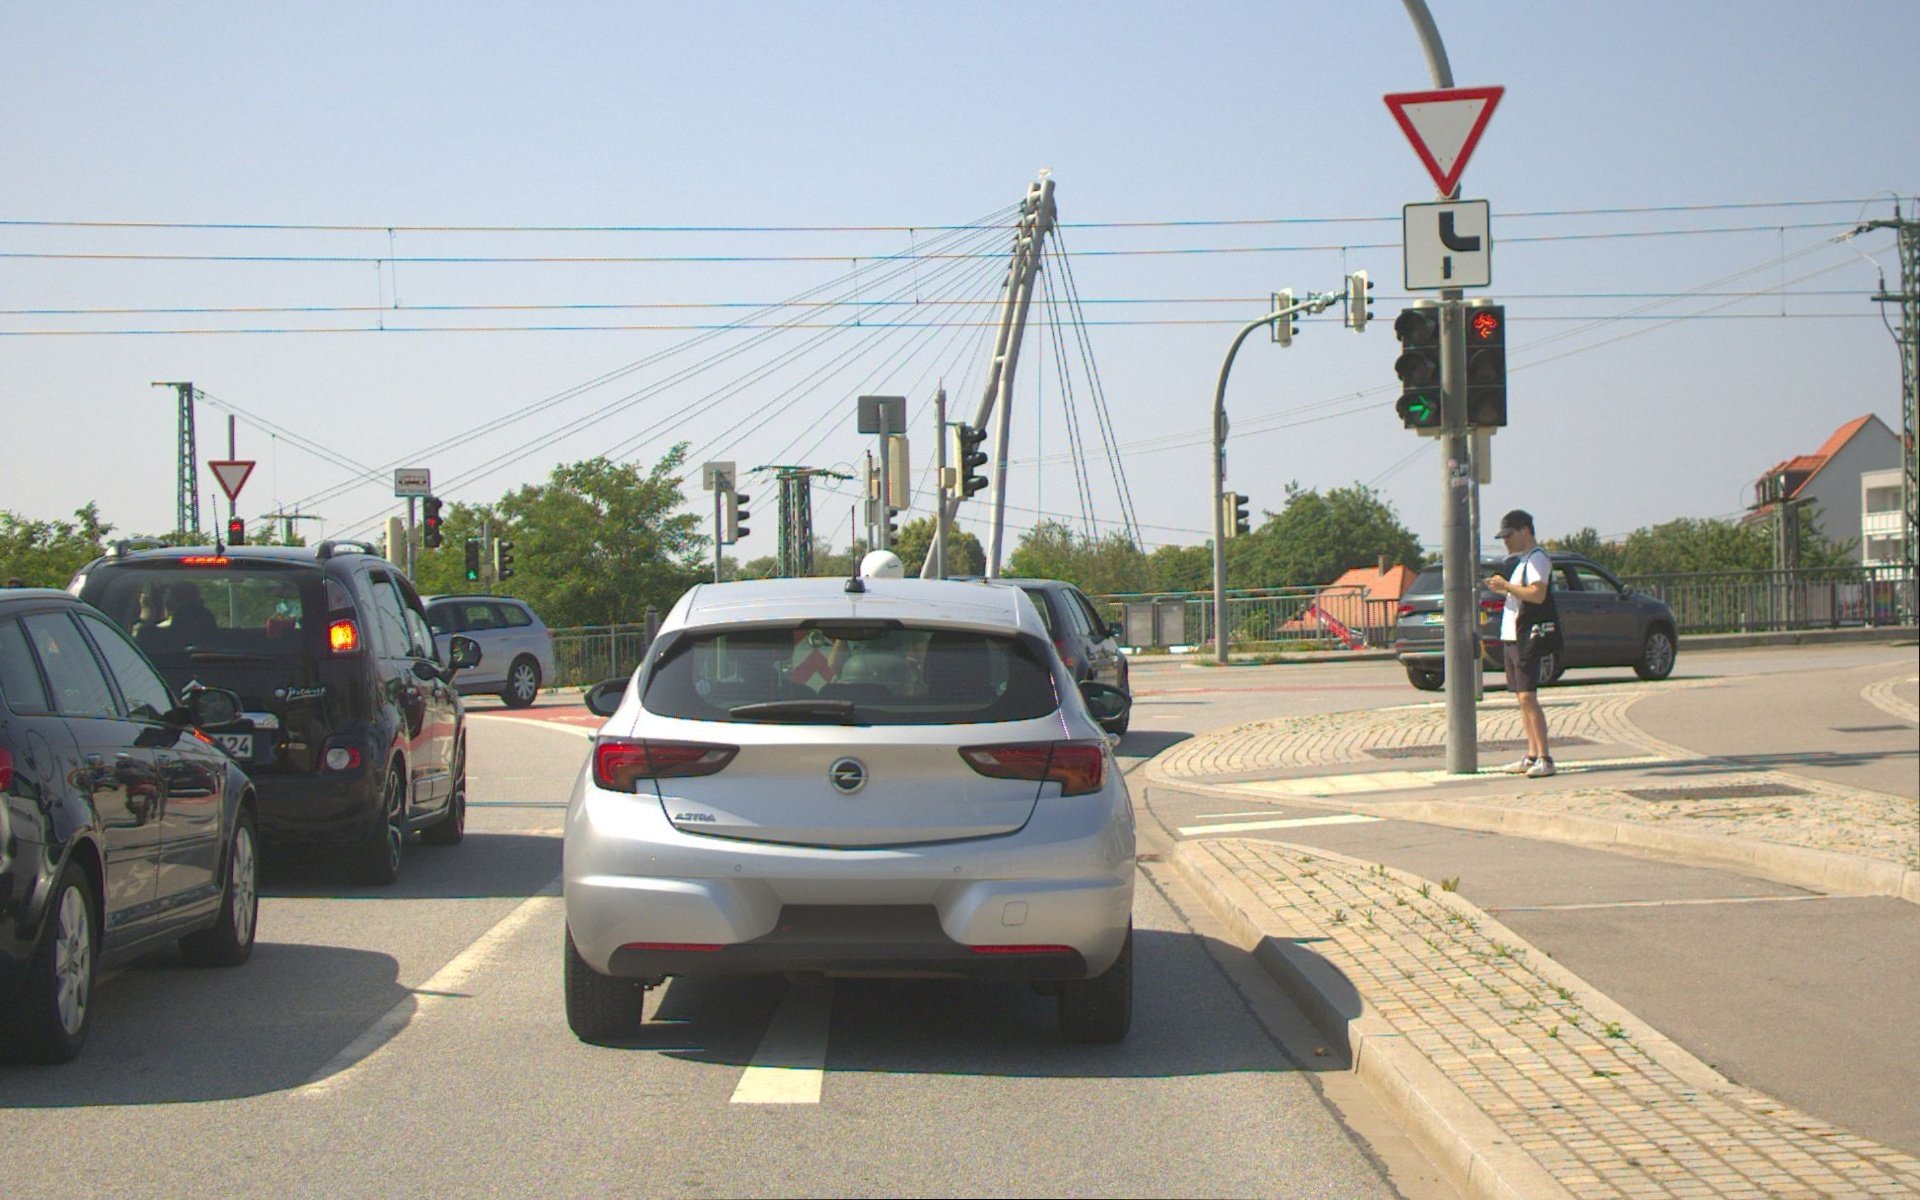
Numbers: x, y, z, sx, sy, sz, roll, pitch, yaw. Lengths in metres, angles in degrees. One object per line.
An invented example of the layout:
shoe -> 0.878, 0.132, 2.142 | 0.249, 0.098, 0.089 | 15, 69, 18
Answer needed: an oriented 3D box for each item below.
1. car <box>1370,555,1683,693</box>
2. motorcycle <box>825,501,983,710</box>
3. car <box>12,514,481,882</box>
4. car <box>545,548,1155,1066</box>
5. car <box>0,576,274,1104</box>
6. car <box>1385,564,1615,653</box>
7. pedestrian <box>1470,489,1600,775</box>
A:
car -> 6.899, 0.267, 41.614 | 1.728, 1.558, 3.989 | 2, 2, 44
motorcycle -> -0.344, 0.062, 19.477 | 0.501, 1.010, 2.174 | -8, -2, -8
car -> -3.434, 0.434, 17.185 | 1.649, 1.610, 3.820 | 1, 0, -2
car -> -0.395, 0.599, 11.970 | 1.743, 1.473, 4.000 | 1, 0, -2
car -> -3.395, 0.634, 11.204 | 1.575, 1.429, 3.786 | 1, 0, -1
car -> 9.489, 0.153, 60.454 | 3.623, 1.481, 1.691 | 1, 0, -22
pedestrian -> 3.782, 0.205, 22.661 | 0.647, 1.830, 0.798 | -2, 0, -2
